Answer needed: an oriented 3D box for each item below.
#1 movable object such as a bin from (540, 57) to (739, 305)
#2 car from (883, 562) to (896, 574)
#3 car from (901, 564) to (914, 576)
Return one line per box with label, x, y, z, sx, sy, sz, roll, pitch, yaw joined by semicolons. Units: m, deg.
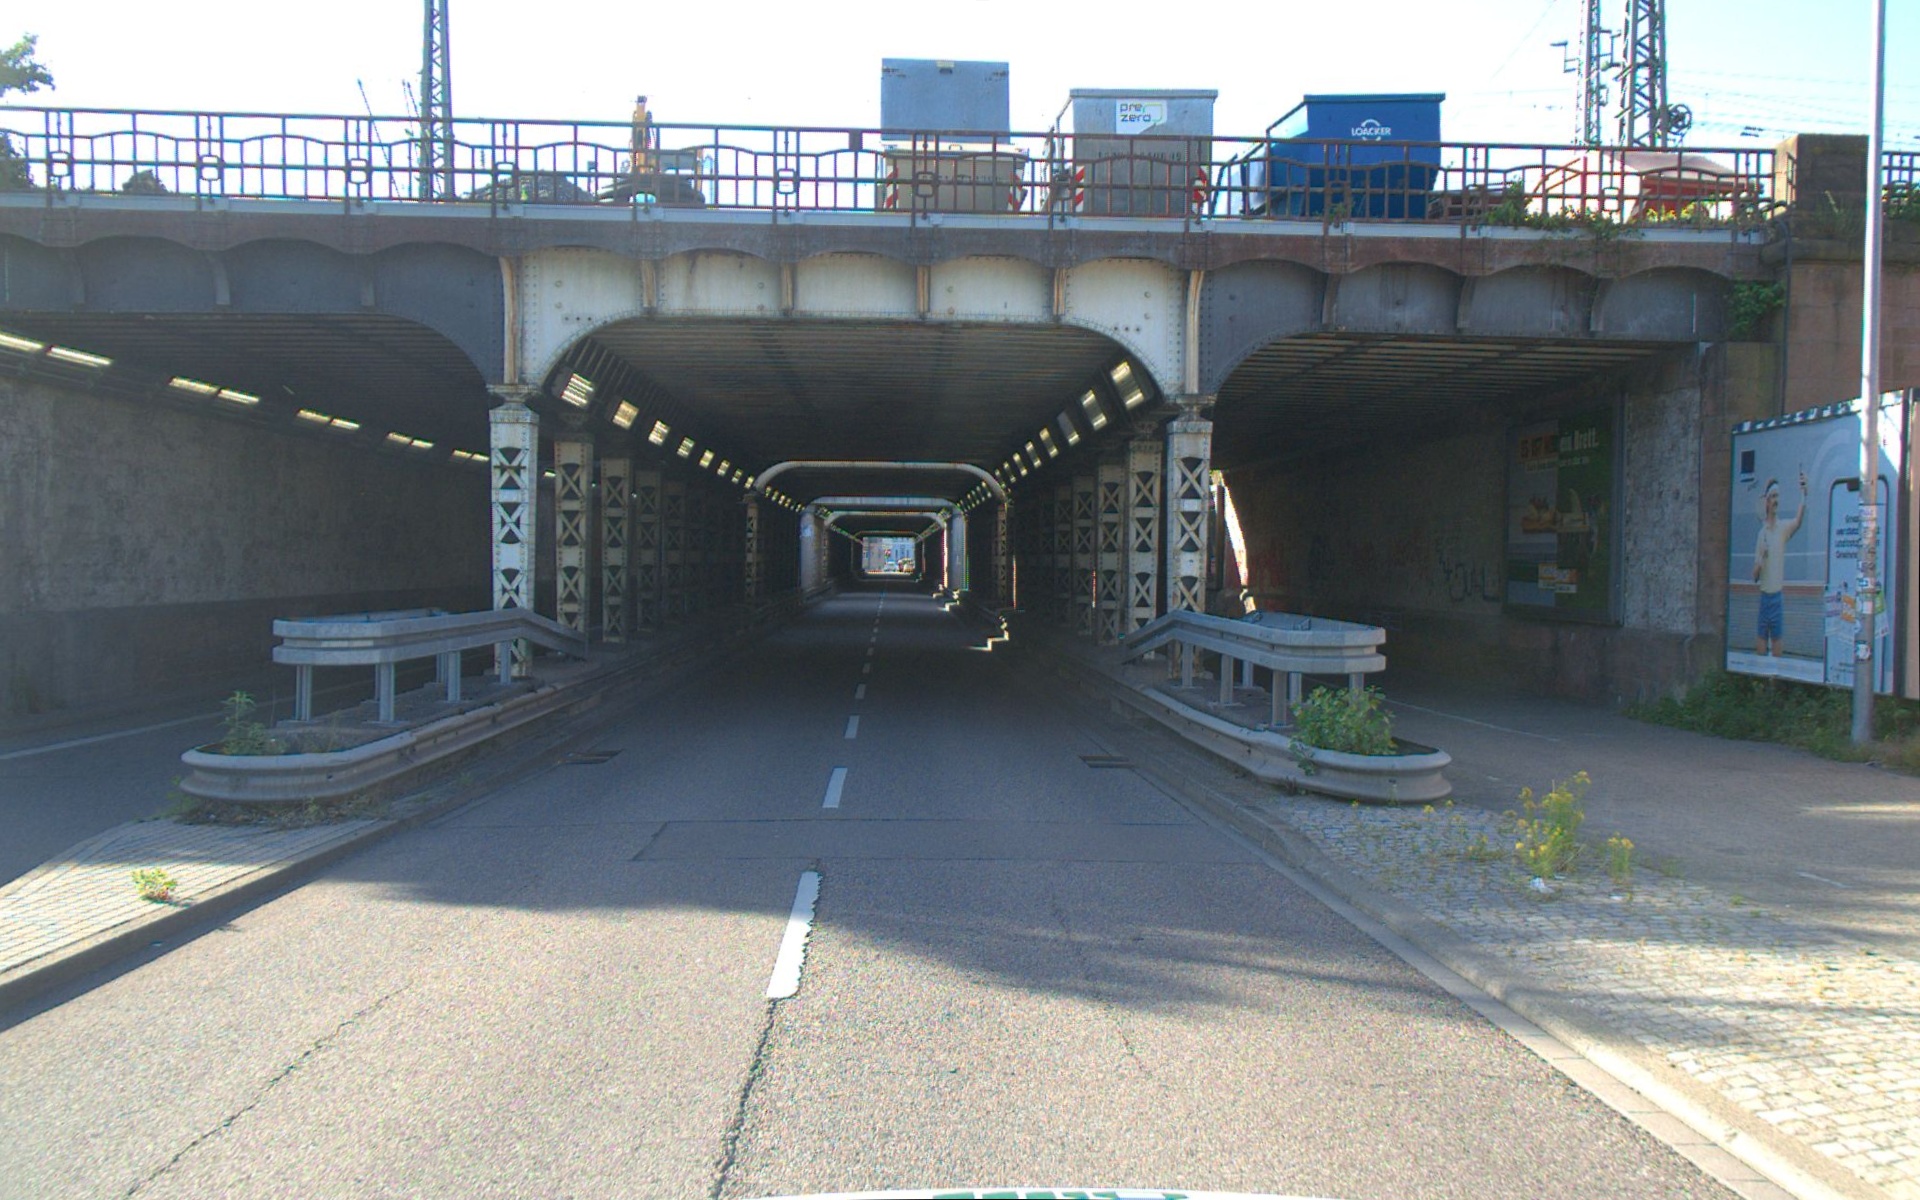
movable object such as a bin;-4.438;-5.810;23.661;1.953;2.265;4.829;1;0;-1
car;-10.961;-4.931;257.600;1.953;1.815;3.999;0;1;-2
car;-7.697;-4.416;242.302;1.953;1.815;3.999;0;1;-2
